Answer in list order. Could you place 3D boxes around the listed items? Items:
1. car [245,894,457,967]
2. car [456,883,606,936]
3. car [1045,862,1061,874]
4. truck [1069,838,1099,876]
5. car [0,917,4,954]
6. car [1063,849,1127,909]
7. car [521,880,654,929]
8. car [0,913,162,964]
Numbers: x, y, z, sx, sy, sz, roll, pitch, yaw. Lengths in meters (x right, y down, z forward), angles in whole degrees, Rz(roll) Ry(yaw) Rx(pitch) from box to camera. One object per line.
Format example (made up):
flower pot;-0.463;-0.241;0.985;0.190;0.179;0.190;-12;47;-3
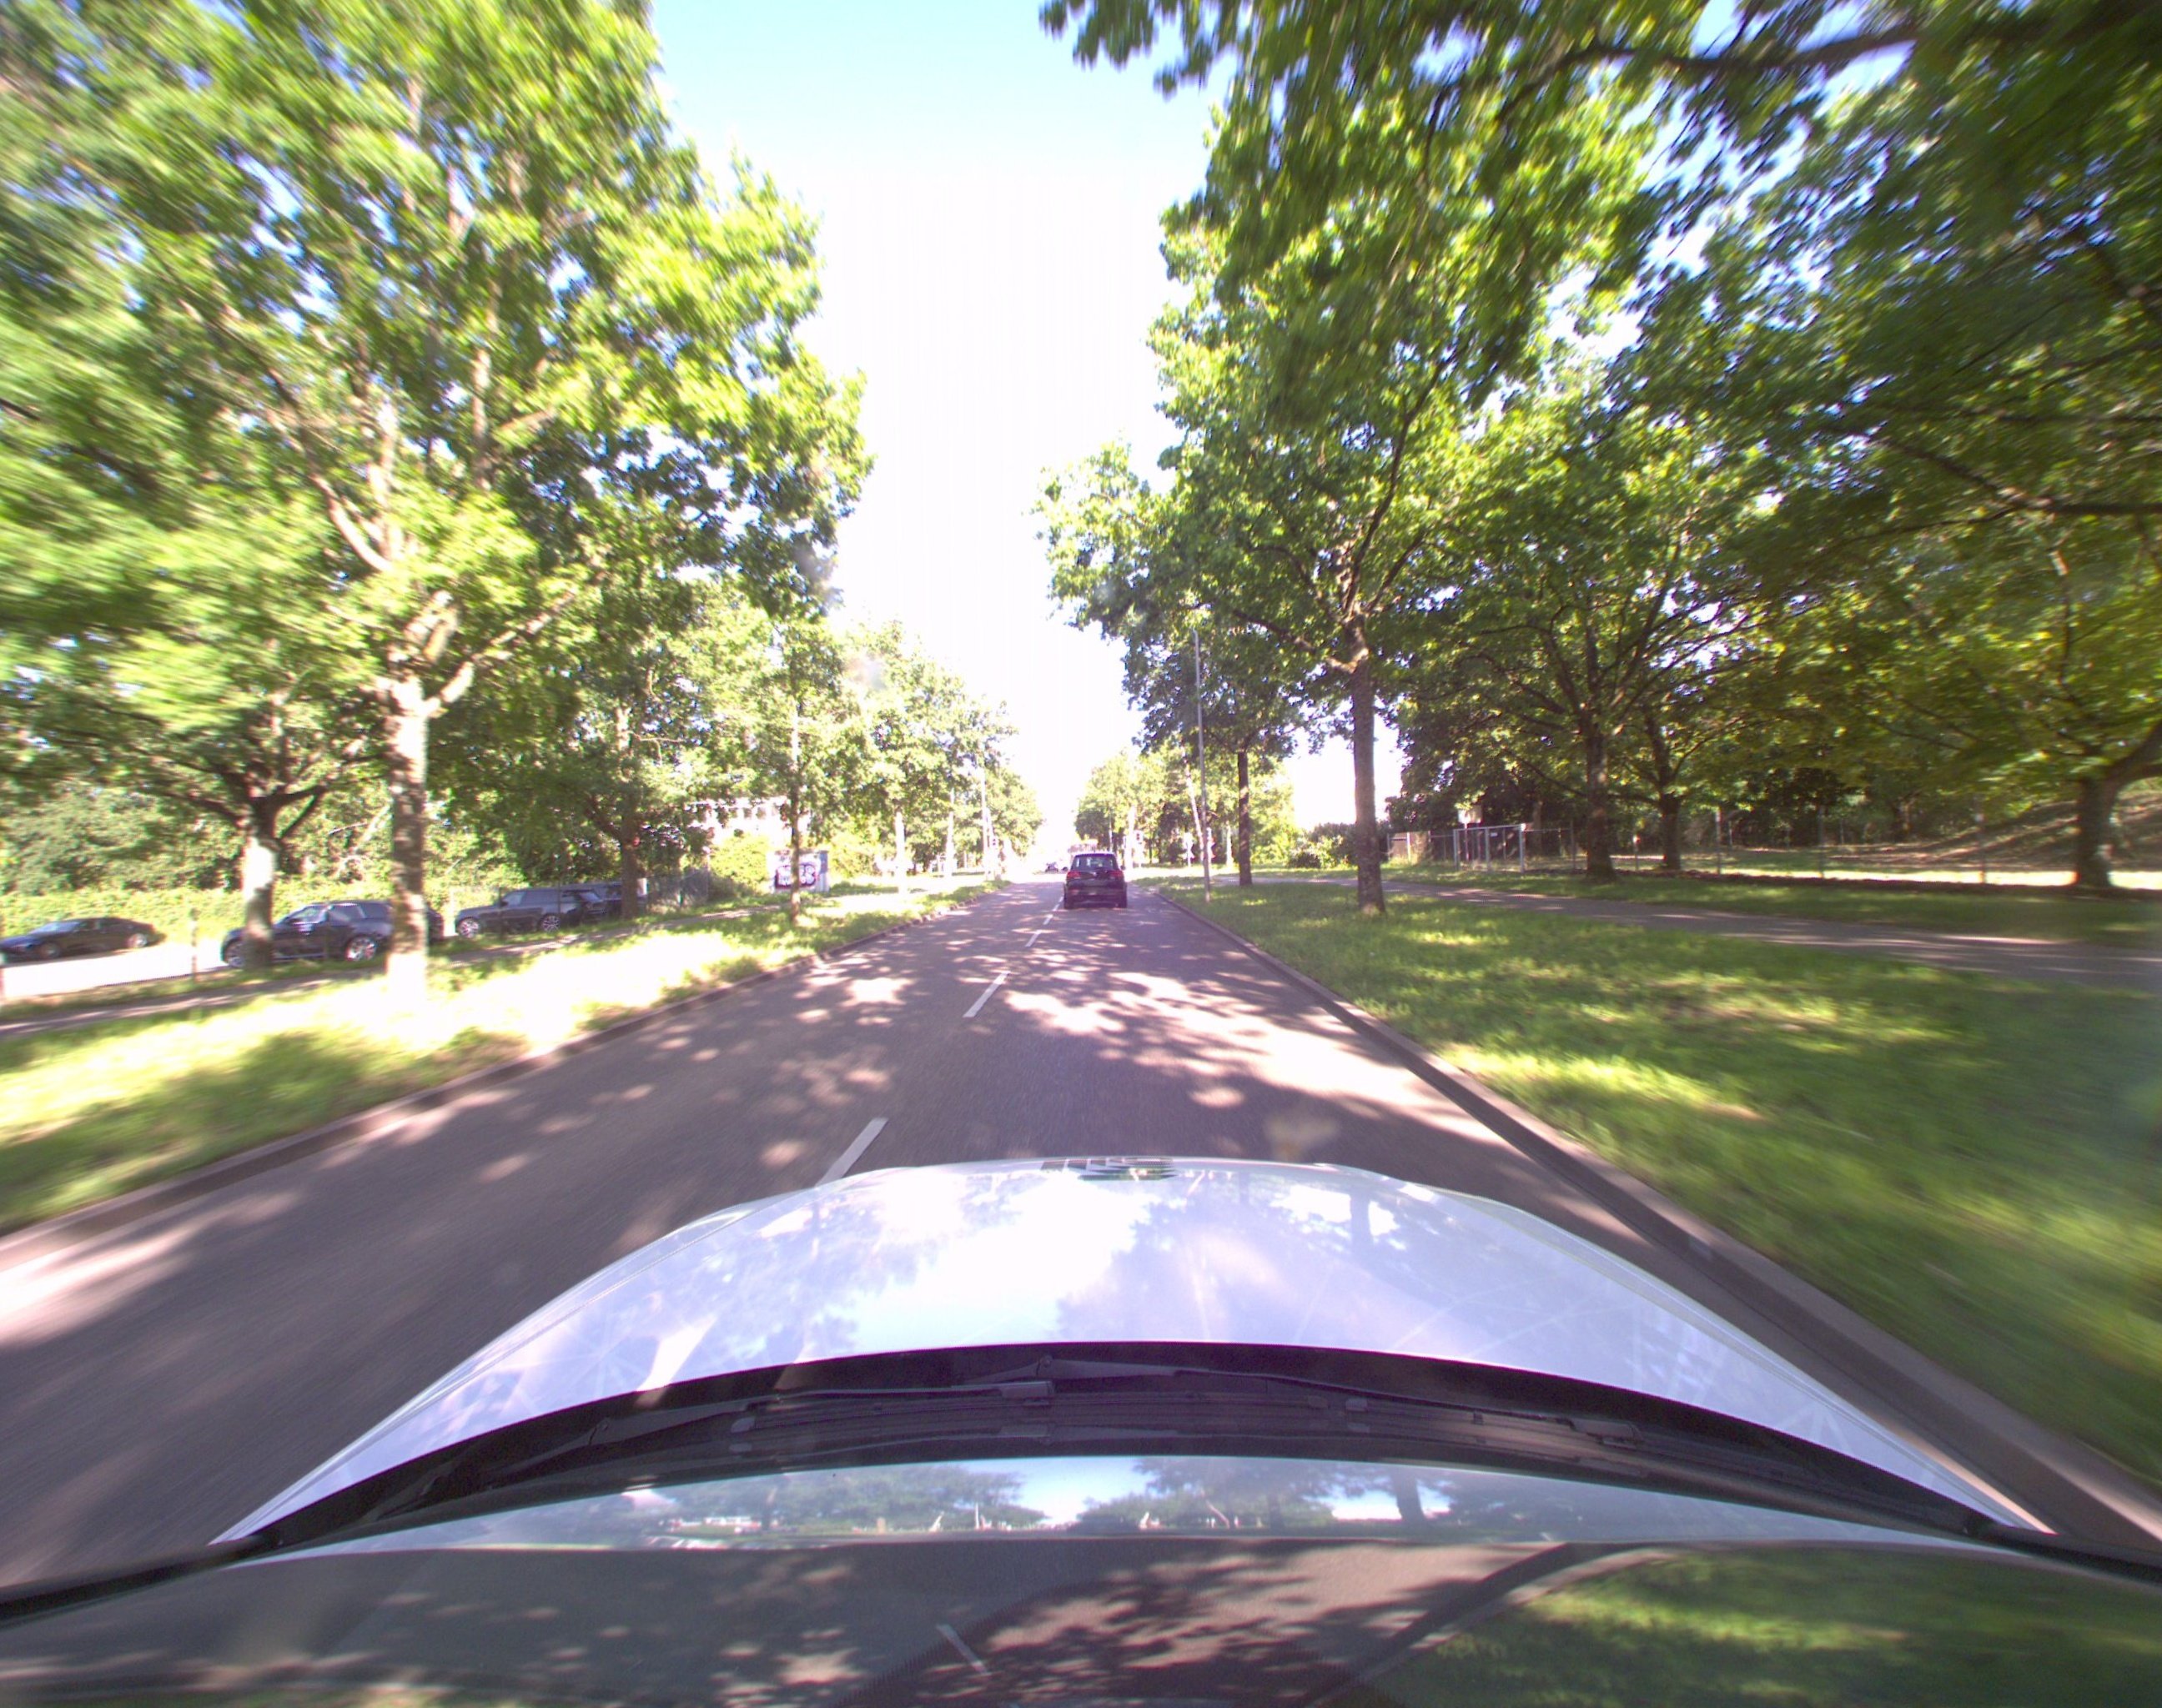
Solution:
car;-20.361;2.099;22.886;3.981;1.801;1.996;-1;0;-5
car;-20.612;2.054;30.670;4.180;1.801;1.998;-1;0;-3
car;-3.501;1.733;102.739;1.559;1.504;4.003;-1;0;3
truck;0.333;0.262;76.503;2.503;3.243;8.153;-2;0;1
car;-47.246;3.505;32.483;1.986;1.566;4.887;-1;0;2
car;0.439;0.704;24.765;1.776;1.633;4.001;-1;0;1
car;-20.233;2.041;33.518;4.180;1.801;1.998;-1;0;-3
car;-40.756;3.331;32.843;1.990;1.566;4.878;-1;0;-4
